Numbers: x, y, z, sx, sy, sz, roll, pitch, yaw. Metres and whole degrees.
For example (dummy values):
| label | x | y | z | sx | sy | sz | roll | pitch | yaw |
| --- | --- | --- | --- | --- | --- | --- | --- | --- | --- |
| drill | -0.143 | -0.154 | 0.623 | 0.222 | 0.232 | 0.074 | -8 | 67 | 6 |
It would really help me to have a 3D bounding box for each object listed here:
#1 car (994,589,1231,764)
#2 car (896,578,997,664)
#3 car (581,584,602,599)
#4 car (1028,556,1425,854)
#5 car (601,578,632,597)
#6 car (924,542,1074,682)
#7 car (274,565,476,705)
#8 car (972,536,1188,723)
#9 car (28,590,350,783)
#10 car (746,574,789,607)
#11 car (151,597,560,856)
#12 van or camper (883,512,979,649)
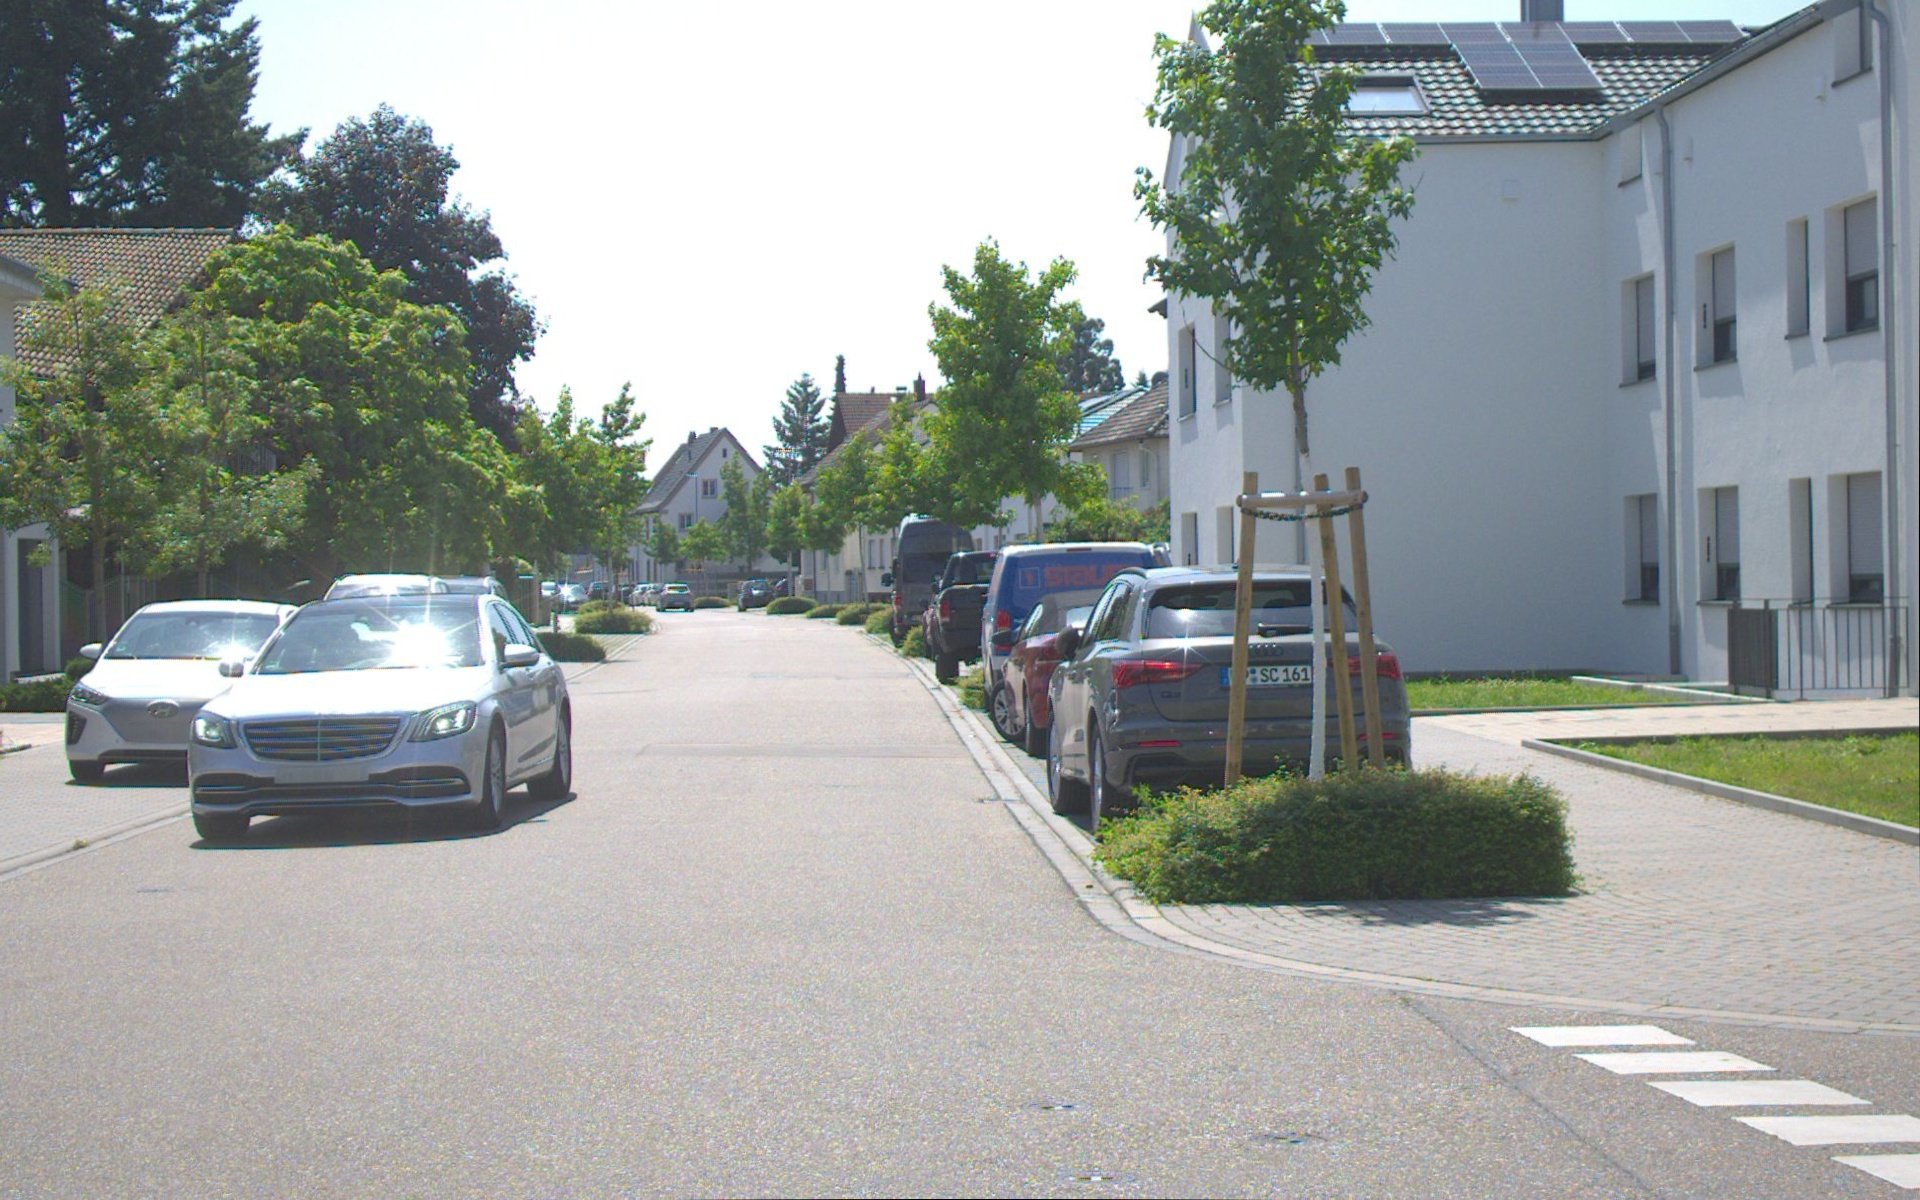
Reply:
| label | x | y | z | sx | sy | sz | roll | pitch | yaw |
| --- | --- | --- | --- | --- | --- | --- | --- | --- | --- |
| car | 1.309 | 0.637 | 31.049 | 1.679 | 1.437 | 4.027 | -1 | 0 | -4 |
| car | -0.285 | 0.381 | 66.279 | 1.670 | 1.590 | 3.556 | -1 | 0 | -4 |
| car | -25.663 | -0.590 | 239.681 | 1.188 | 1.067 | 3.054 | -1 | 0 | -11 |
| car | 1.502 | 0.558 | 20.927 | 1.773 | 1.590 | 4.280 | -1 | 0 | -4 |
| car | -23.084 | -0.844 | 231.005 | 1.662 | 1.246 | 3.933 | -1 | 0 | -11 |
| car | 0.530 | 0.156 | 51.740 | 1.993 | 1.940 | 5.215 | -2 | 0 | -2 |
| car | -7.441 | 0.413 | 44.150 | 1.927 | 1.681 | 4.498 | -1 | 0 | -2 |
| car | 1.238 | 0.288 | 37.574 | 2.099 | 1.875 | 4.843 | -1 | 0 | -1 |
| car | -6.463 | 0.675 | 29.286 | 1.852 | 1.483 | 4.385 | -1 | 0 | -2 |
| car | -9.545 | -0.477 | 170.925 | 1.993 | 1.568 | 4.000 | -1 | 0 | -2 |
| car | -3.841 | 0.743 | 22.634 | 1.853 | 1.473 | 4.700 | -1 | 0 | 0 |
| van or camper | -0.670 | -0.439 | 76.764 | 1.993 | 2.931 | 4.000 | -1 | 0 | -2 |
